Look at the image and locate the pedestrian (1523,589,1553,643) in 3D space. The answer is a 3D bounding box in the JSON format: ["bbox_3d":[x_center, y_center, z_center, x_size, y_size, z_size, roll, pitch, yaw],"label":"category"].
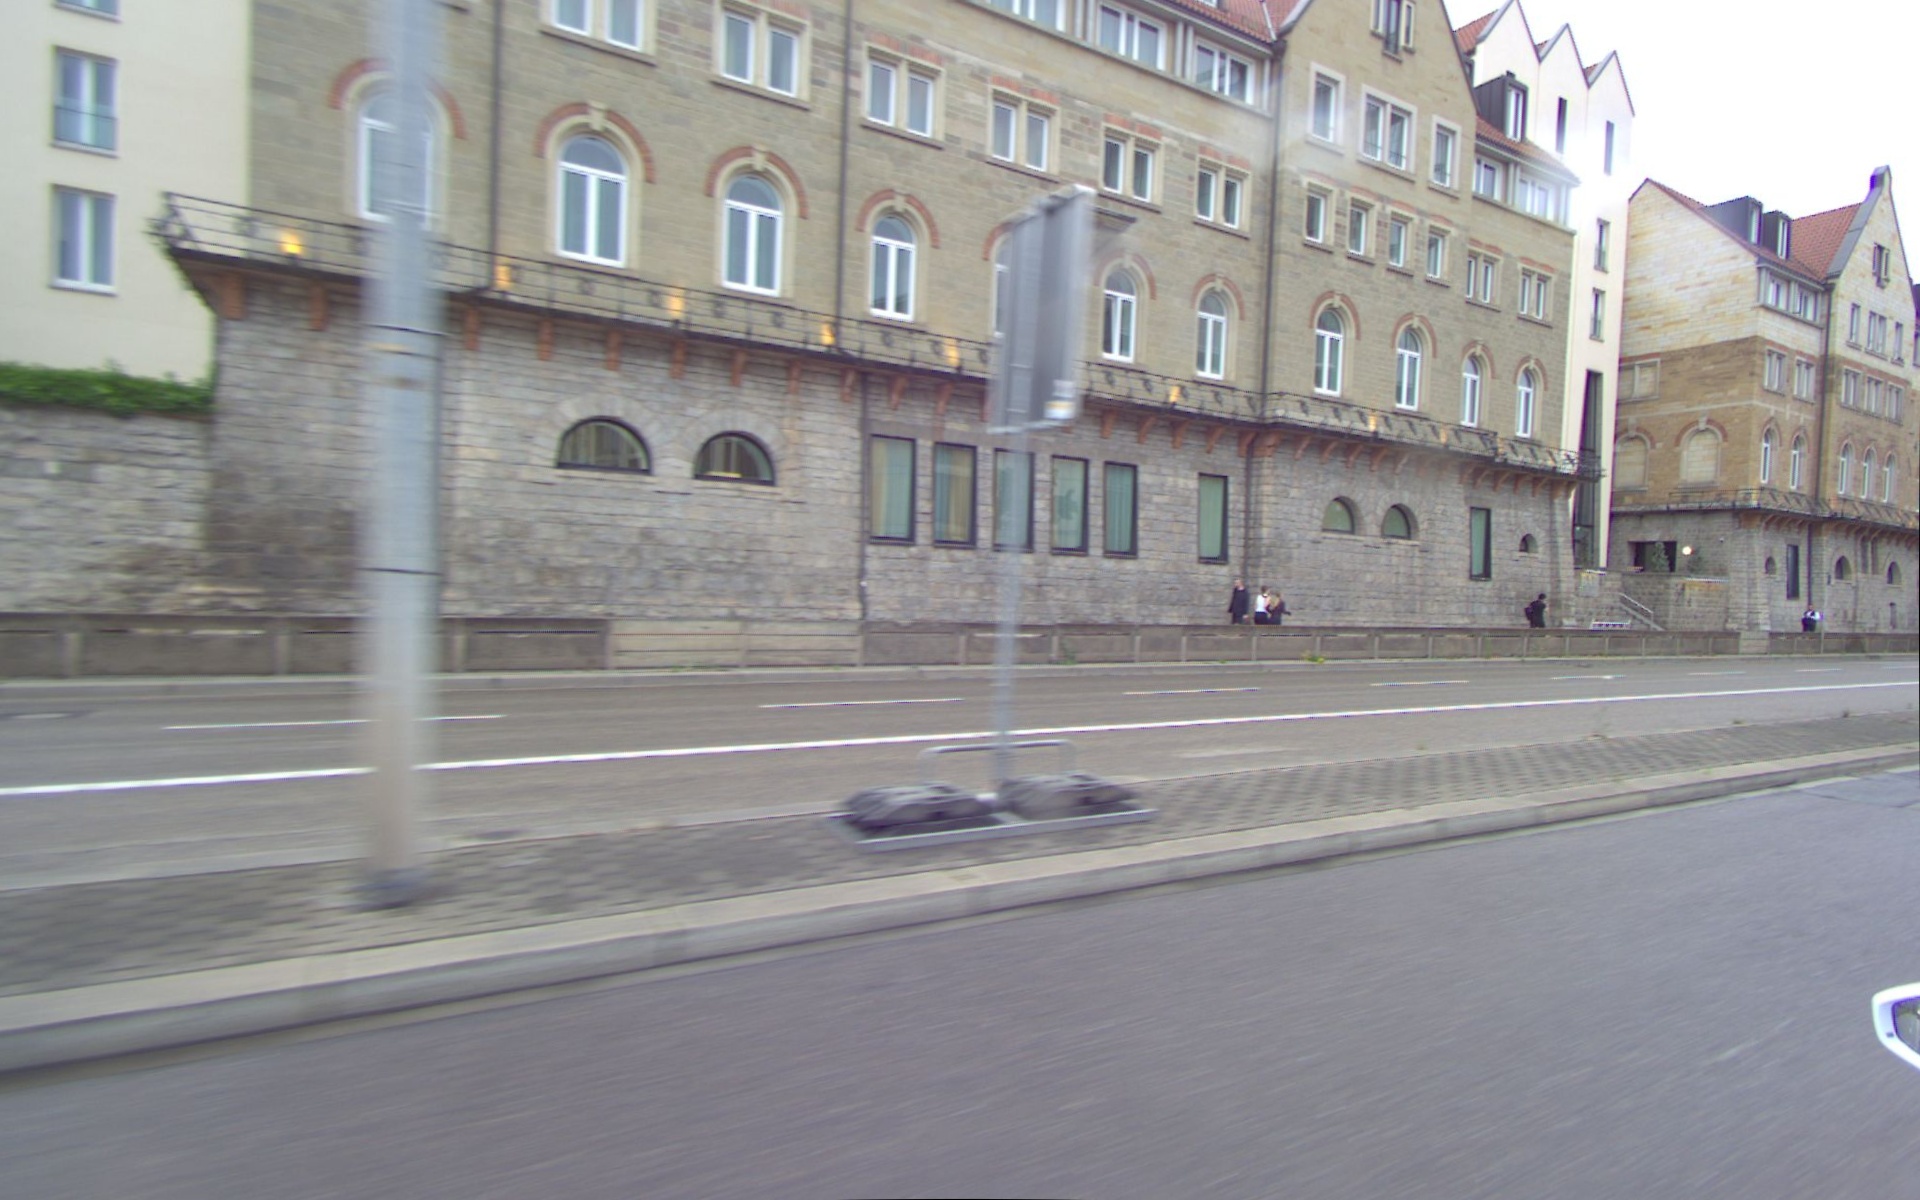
[{"bbox_3d":[19.083,0.527,33.174,0.614,1.769,0.637,-1,1,-33],"label":"pedestrian"}]

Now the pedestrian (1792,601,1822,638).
[{"bbox_3d":[35.935,0.817,42.618,0.706,1.498,0.750,-1,1,-31],"label":"pedestrian"}]

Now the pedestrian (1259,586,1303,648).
[{"bbox_3d":[7.892,0.396,24.735,0.706,1.498,0.750,-1,1,-31],"label":"pedestrian"}]

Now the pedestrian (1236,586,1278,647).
[{"bbox_3d":[7.513,0.404,25.424,0.706,1.498,0.750,-1,1,-31],"label":"pedestrian"}]

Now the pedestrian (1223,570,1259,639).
[{"bbox_3d":[7.315,0.108,26.143,0.614,1.769,0.637,-1,1,-32],"label":"pedestrian"}]
